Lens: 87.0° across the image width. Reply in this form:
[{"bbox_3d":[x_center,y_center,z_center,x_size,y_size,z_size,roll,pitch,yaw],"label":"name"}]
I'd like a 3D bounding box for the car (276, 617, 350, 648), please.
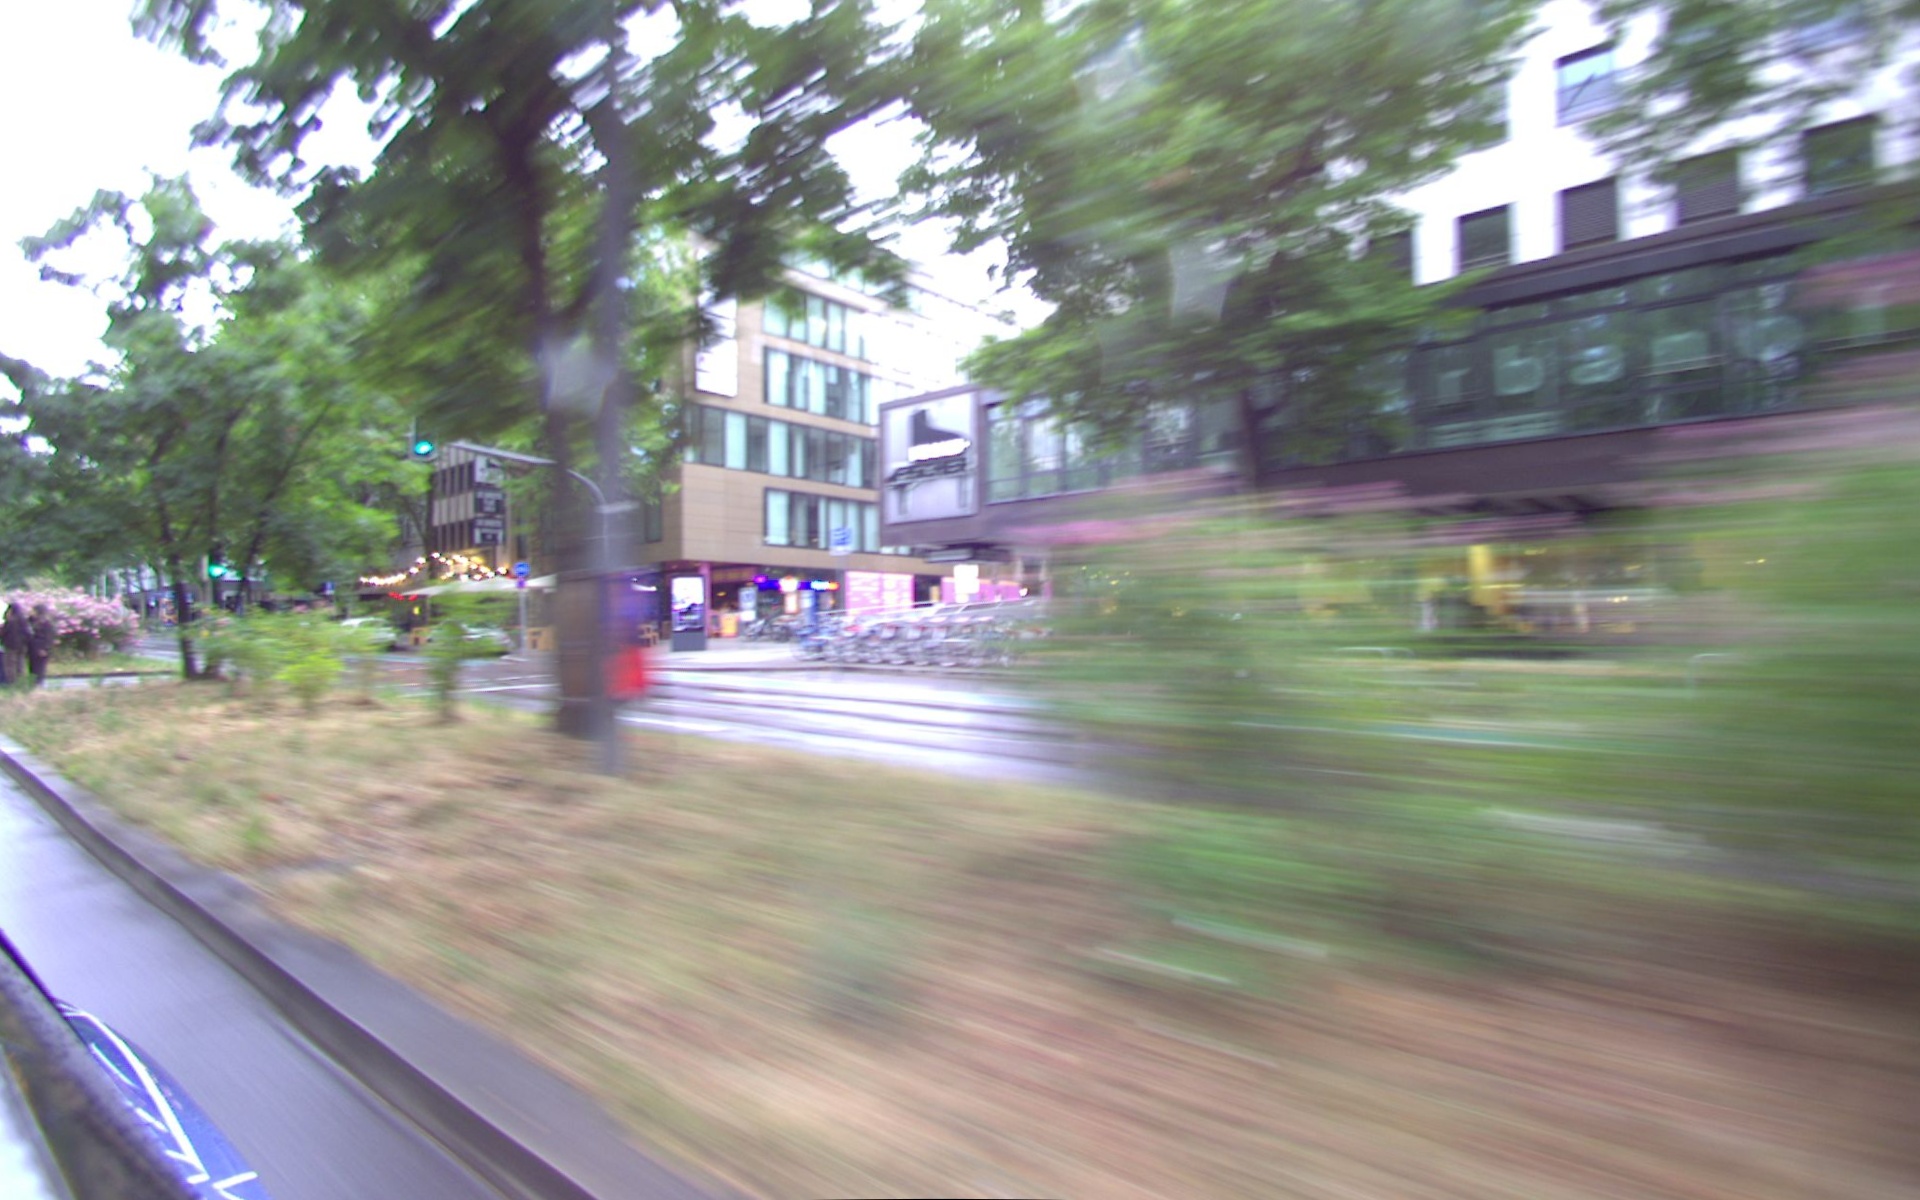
[{"bbox_3d":[-30.589,1.512,47.780,4.482,1.405,1.806,-1,-1,42],"label":"car"}]

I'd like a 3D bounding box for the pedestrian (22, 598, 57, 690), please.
[{"bbox_3d":[-17.544,0.828,19.290,0.324,1.733,0.396,-1,-1,27],"label":"pedestrian"}]

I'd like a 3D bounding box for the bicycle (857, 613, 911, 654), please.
[{"bbox_3d":[-1.866,0.824,25.106,0.564,0.986,1.451,-1,-1,33],"label":"bicycle"}]

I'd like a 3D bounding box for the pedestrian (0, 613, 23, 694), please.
[{"bbox_3d":[-17.645,0.979,18.658,0.383,1.461,0.421,-1,-1,23],"label":"pedestrian"}]

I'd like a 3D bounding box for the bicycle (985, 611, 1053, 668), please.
[{"bbox_3d":[1.282,0.826,21.696,0.564,1.158,1.828,-2,-2,35],"label":"bicycle"}]

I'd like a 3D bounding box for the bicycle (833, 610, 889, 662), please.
[{"bbox_3d":[-2.475,0.898,25.473,0.508,1.250,1.604,-1,-1,34],"label":"bicycle"}]

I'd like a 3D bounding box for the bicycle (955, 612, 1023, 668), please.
[{"bbox_3d":[0.652,0.847,21.927,0.564,1.145,1.828,-2,-2,35],"label":"bicycle"}]

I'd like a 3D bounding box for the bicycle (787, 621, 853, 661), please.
[{"bbox_3d":[-3.653,1.069,26.603,0.565,0.986,1.826,-2,-1,38],"label":"bicycle"}]

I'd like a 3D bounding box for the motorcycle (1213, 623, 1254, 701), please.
[{"bbox_3d":[4.276,0.938,15.886,0.491,1.093,1.773,-1,0,11],"label":"motorcycle"}]

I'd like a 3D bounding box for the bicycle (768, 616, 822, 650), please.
[{"bbox_3d":[-6.488,1.290,39.907,0.688,1.256,2.367,1,0,33],"label":"bicycle"}]

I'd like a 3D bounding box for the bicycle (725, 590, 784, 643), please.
[{"bbox_3d":[-8.229,0.634,40.625,0.689,2.029,2.363,-1,1,39],"label":"bicycle"}]

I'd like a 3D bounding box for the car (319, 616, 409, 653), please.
[{"bbox_3d":[-25.521,1.452,43.286,4.538,1.380,1.973,-2,1,42],"label":"car"}]

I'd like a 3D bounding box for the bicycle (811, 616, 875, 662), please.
[{"bbox_3d":[-2.989,0.982,26.024,0.613,1.106,1.829,-1,-1,33],"label":"bicycle"}]

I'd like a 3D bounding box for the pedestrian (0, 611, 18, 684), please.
[{"bbox_3d":[-20.017,0.989,21.073,0.475,1.500,0.546,0,-1,-30],"label":"pedestrian"}]

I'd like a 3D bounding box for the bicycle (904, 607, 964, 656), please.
[{"bbox_3d":[-0.605,0.734,24.023,0.564,1.099,1.656,-1,-1,34],"label":"bicycle"}]

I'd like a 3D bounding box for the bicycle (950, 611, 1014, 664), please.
[{"bbox_3d":[0.519,0.831,23.051,0.564,1.145,1.829,-1,-1,34],"label":"bicycle"}]

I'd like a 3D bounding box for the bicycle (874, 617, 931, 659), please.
[{"bbox_3d":[-1.374,0.903,24.565,0.508,0.970,1.604,-1,-1,34],"label":"bicycle"}]

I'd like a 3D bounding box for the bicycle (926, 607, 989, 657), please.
[{"bbox_3d":[-0.043,0.736,23.541,0.564,1.106,1.806,-1,-1,34],"label":"bicycle"}]

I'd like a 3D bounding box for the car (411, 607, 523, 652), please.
[{"bbox_3d":[-17.947,1.055,36.752,4.514,1.520,1.974,-2,-1,40],"label":"car"}]

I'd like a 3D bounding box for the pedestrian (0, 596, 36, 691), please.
[{"bbox_3d":[-17.411,0.786,18.586,0.402,1.711,0.569,-1,-1,29],"label":"pedestrian"}]

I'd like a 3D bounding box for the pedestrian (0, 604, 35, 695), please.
[{"bbox_3d":[-17.726,0.911,18.843,0.443,1.655,0.624,-1,-1,27],"label":"pedestrian"}]
